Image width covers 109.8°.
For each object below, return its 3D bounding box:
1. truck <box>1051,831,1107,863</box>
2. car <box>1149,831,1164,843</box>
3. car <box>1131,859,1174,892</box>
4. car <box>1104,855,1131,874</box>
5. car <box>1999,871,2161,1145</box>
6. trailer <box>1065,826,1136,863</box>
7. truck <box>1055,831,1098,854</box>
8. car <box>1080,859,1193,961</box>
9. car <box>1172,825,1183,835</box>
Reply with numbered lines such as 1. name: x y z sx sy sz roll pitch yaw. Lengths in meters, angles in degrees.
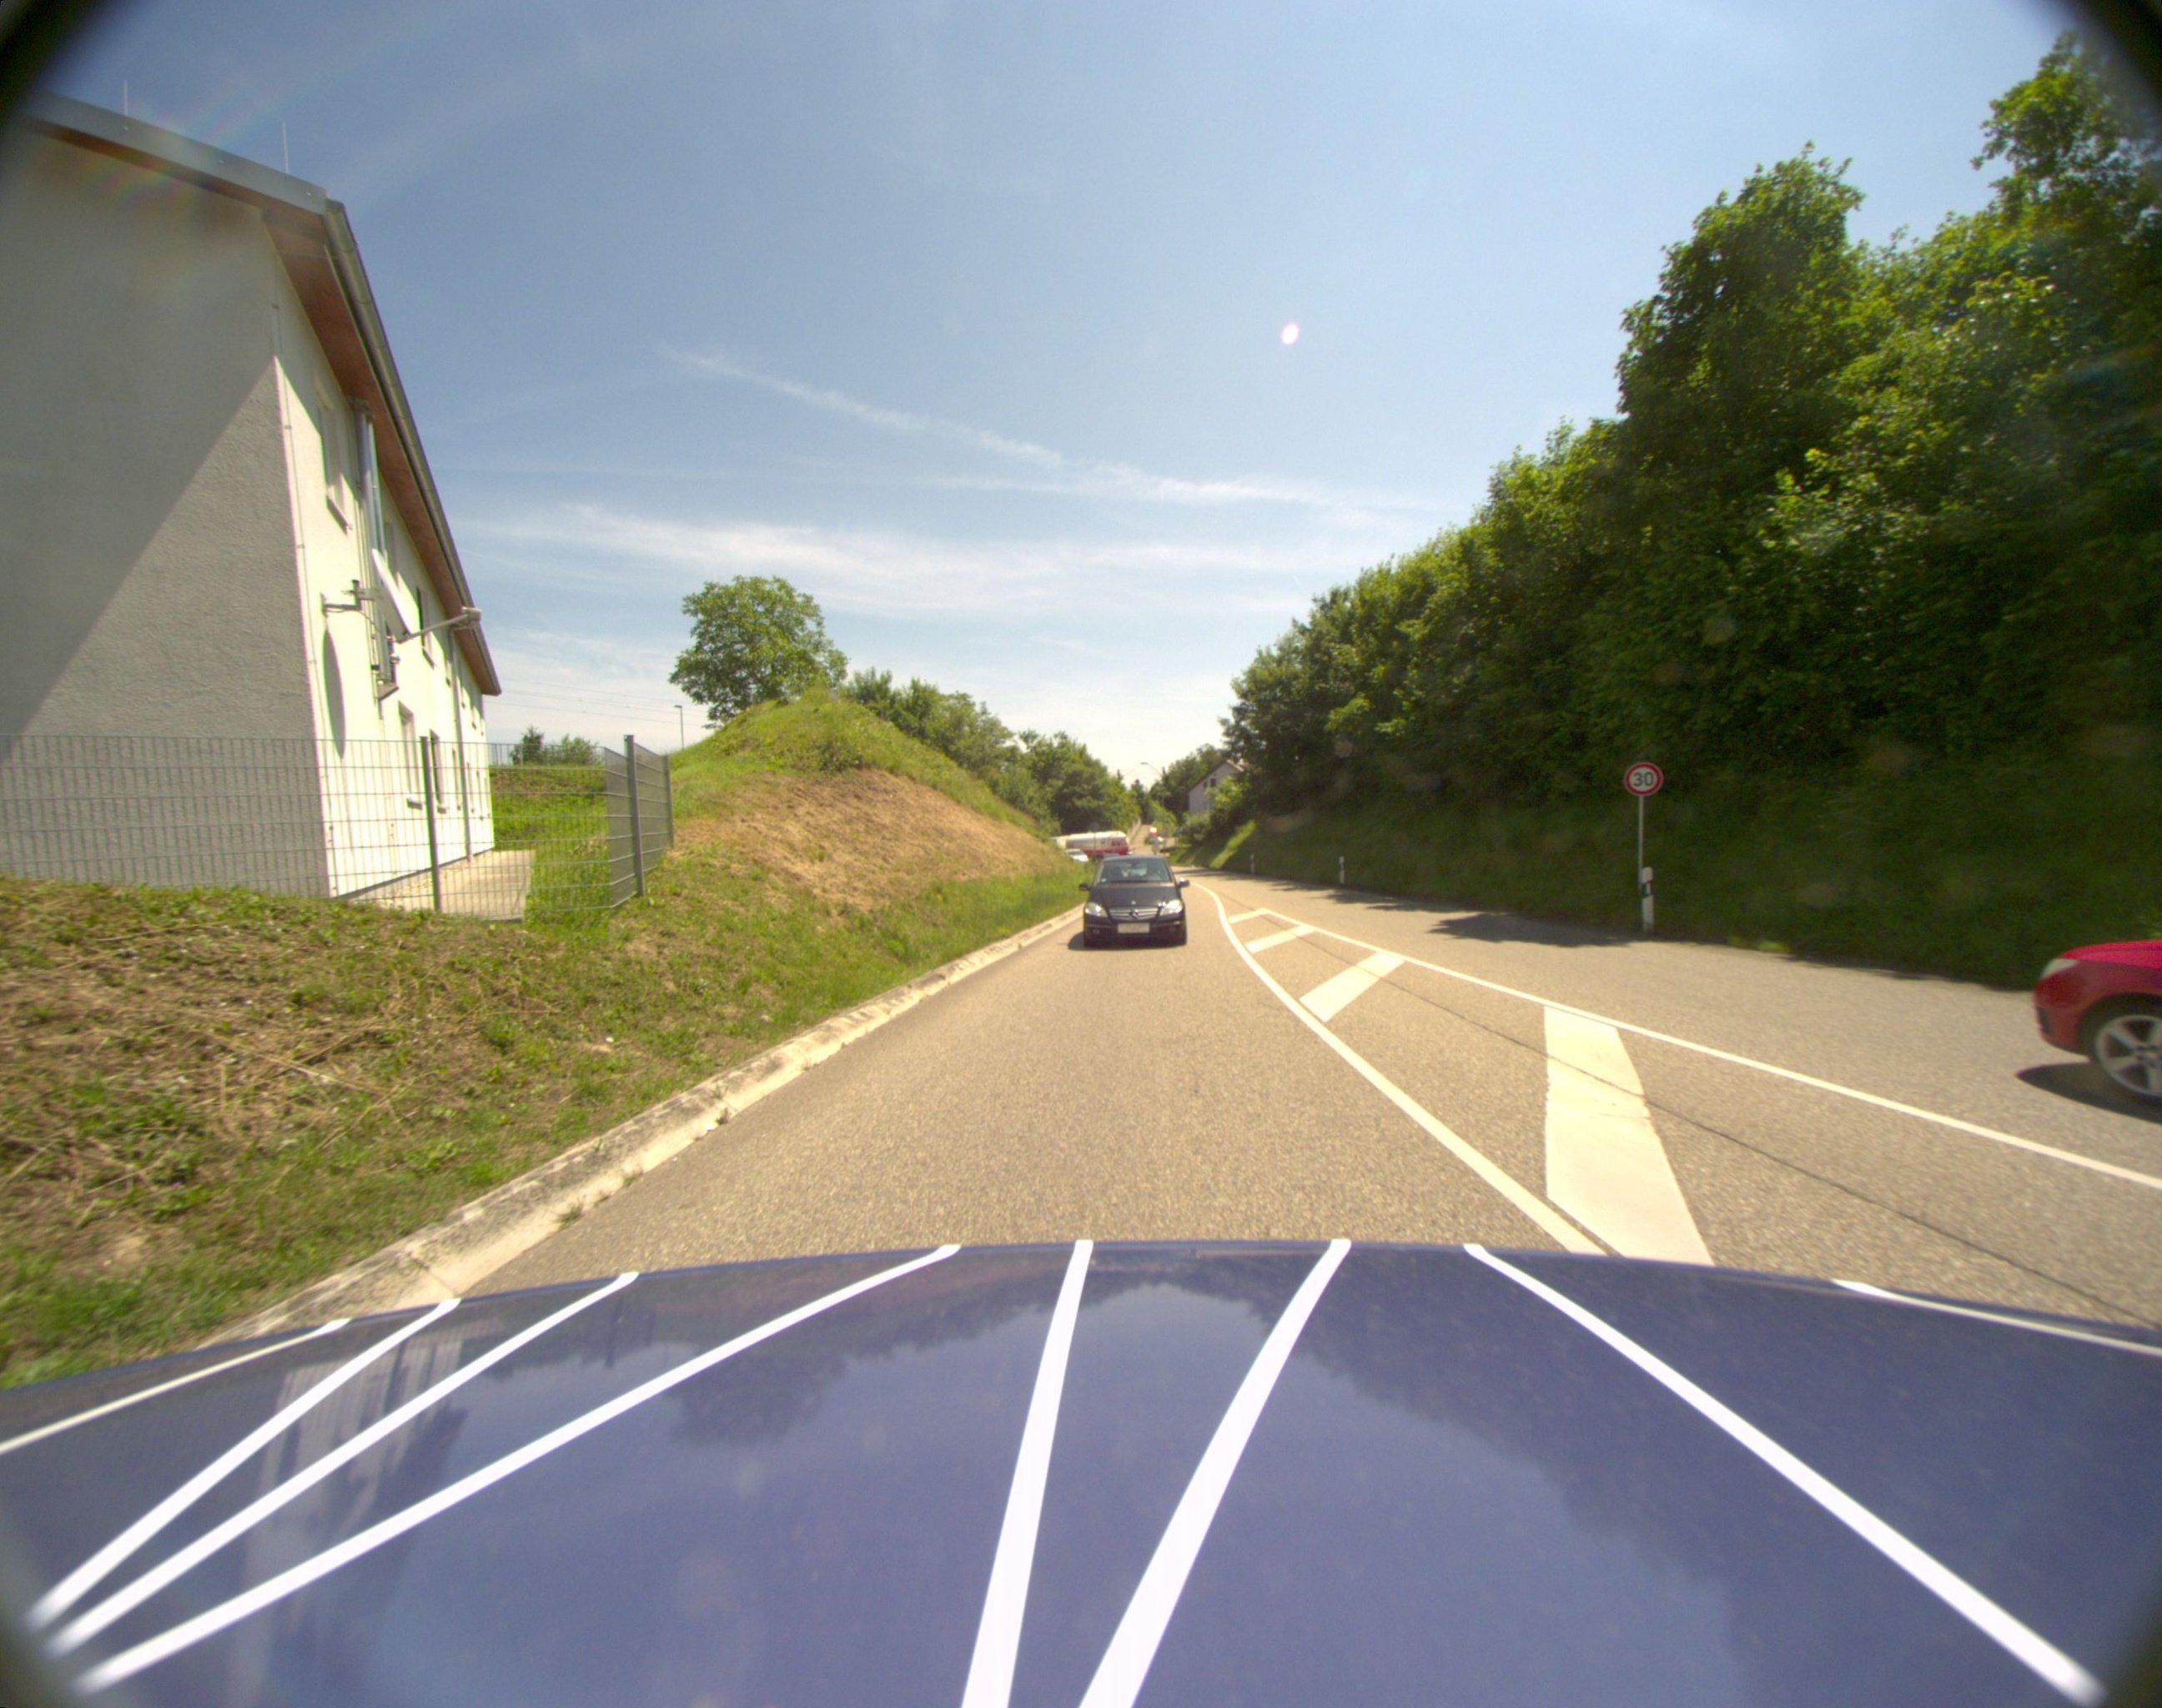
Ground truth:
1. truck: -0.303 -0.730 81.597 2.638 3.152 7.051 -4 1 -31
2. car: 11.694 -2.712 117.307 1.997 1.499 3.999 -4 4 9
3. car: 3.019 0.860 32.415 1.647 1.314 3.439 0 0 2
4. car: 2.781 0.781 59.004 1.755 1.281 4.144 -3 1 -1
5. car: 6.731 0.831 2.822 1.754 1.439 3.999 -1 0 -2
6. trailer: 1.784 -0.910 77.389 2.644 3.353 11.121 -3 1 -23
7. truck: -0.454 -1.052 74.573 2.075 2.001 5.234 -4 1 -26
8. car: 1.081 0.936 14.373 1.795 1.570 3.801 -2 1 5
9. car: 16.881 -4.195 133.146 1.749 1.382 3.998 -4 5 7
